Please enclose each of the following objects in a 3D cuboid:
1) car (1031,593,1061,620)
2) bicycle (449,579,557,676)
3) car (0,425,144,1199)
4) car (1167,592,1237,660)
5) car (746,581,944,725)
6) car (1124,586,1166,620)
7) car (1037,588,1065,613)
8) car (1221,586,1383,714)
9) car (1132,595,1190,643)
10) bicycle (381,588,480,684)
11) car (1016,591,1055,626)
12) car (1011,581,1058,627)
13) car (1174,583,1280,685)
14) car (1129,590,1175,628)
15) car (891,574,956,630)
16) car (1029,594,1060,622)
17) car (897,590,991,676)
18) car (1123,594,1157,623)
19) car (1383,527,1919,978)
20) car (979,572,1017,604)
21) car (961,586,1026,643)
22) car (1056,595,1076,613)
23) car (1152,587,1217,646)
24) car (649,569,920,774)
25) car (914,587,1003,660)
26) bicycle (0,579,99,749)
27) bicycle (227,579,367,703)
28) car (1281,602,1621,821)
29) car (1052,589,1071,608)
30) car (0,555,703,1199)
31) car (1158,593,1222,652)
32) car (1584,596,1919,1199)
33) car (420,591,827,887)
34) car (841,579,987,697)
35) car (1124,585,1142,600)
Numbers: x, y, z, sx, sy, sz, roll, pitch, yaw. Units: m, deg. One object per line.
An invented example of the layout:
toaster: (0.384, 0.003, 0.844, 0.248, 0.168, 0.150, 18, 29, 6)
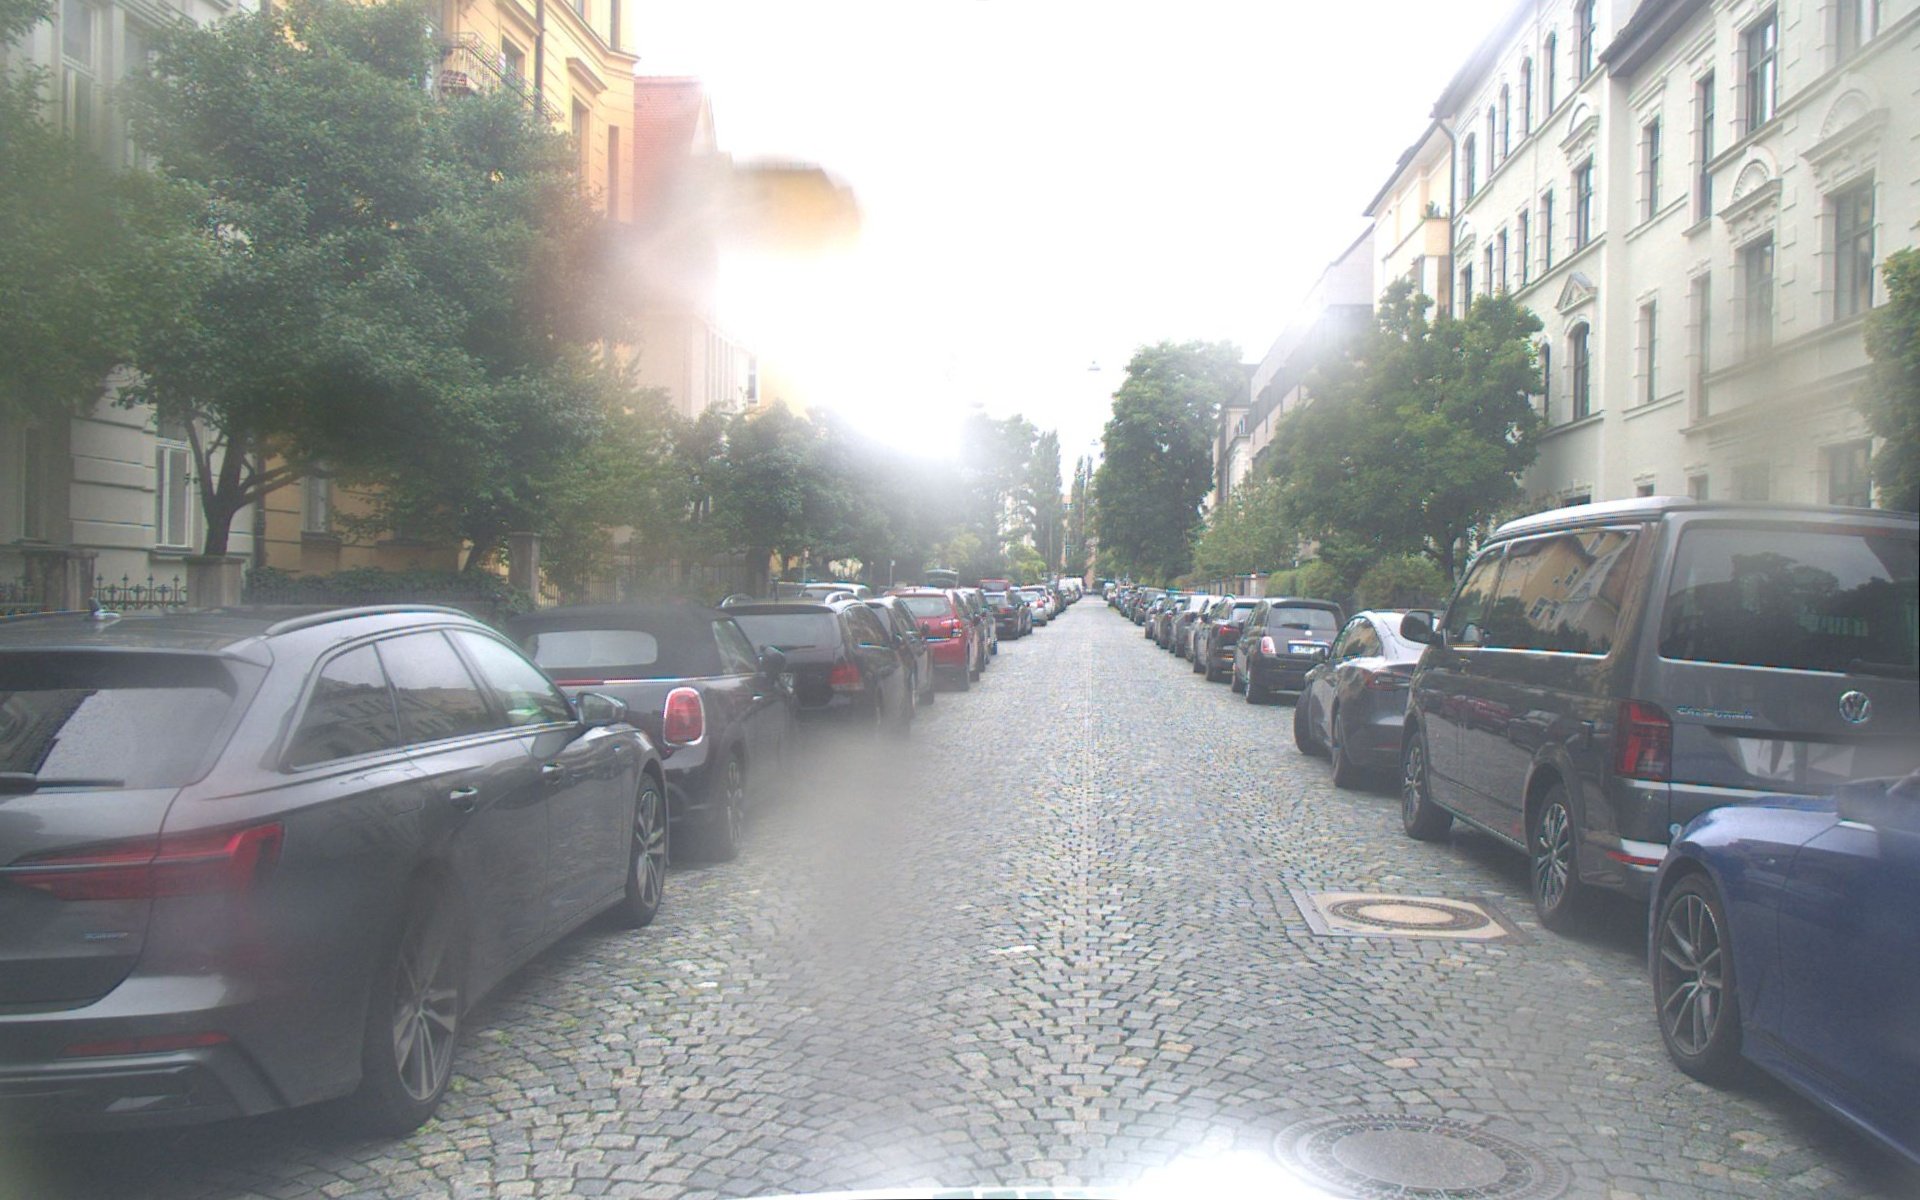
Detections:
car: (5.722, 0.417, 109.611, 1.881, 1.664, 3.741, -2, -1, 4)
bicycle: (-5.778, 0.339, 21.016, 0.409, 1.163, 1.766, 2, 0, 16)
car: (-2.712, 0.568, 0.710, 1.897, 1.681, 5.056, -2, 0, 4)
car: (5.874, 0.605, 40.123, 1.563, 1.529, 3.264, -2, -1, 8)
car: (-1.332, 0.614, 20.788, 1.881, 1.573, 4.002, -2, 0, 4)
car: (9.520, 0.159, 85.294, 1.881, 1.664, 3.741, -2, -1, 4)
car: (6.382, 0.032, 115.715, 1.881, 1.664, 3.741, -2, -1, 4)
car: (5.047, 0.694, 24.904, 1.881, 1.663, 4.049, 3, 0, 6)
car: (6.685, 0.617, 55.232, 1.626, 1.491, 3.449, -2, -1, 3)
bicycle: (-6.122, 0.402, 19.198, 0.409, 1.045, 1.766, 2, 0, 5)
car: (3.896, 0.439, 84.667, 1.881, 1.664, 3.741, -2, -1, 4)
car: (3.257, 0.193, 71.699, 1.881, 1.871, 3.741, -2, -1, 4)
car: (4.629, 0.564, 29.032, 1.625, 1.664, 3.541, 1, 0, 6)
car: (8.970, 0.443, 77.361, 1.881, 1.664, 3.741, -2, -1, 4)
car: (-1.104, 0.062, 51.675, 1.741, 1.664, 3.740, 1, 0, 3)
car: (5.352, 0.501, 104.463, 1.881, 1.664, 3.741, -2, -1, 4)
car: (-0.254, 0.589, 30.733, 1.401, 1.485, 2.652, -2, -1, 6)
car: (11.046, 0.518, 101.830, 1.881, 1.664, 3.741, -2, -1, 4)
car: (3.728, 0.581, 8.849, 1.979, 1.720, 4.853, 2, 1, 4)
car: (2.115, -0.644, 90.535, 1.881, 1.664, 3.741, -2, -1, 4)
car: (1.049, 0.433, 51.004, 1.882, 1.664, 3.740, 1, 0, 2)
car: (10.329, 0.417, 161.061, 1.881, 1.664, 3.741, -2, -1, 4)
car: (6.779, 0.502, 50.167, 1.626, 1.664, 3.449, -2, -1, 3)
car: (-1.454, 0.585, 15.307, 1.690, 1.567, 4.338, -2, 0, 4)
car: (0.012, 0.512, 37.230, 1.625, 1.561, 3.487, 1, 0, 6)
bicycle: (-6.706, 0.434, 11.438, 0.355, 1.152, 1.888, 2, 0, 4)
bicycle: (-6.430, 0.372, 16.128, 0.363, 1.121, 1.835, 2, 0, 8)
car: (4.035, 0.811, 14.451, 1.881, 1.459, 4.804, 4, 0, 5)
car: (11.891, -0.152, 193.886, 1.952, 2.049, 4.000, 1, -1, 2)
car: (-2.309, 0.669, 5.986, 1.767, 1.531, 5.179, -1, 0, 2)
car: (6.254, 0.598, 45.170, 1.625, 1.481, 3.451, -2, 0, 7)
car: (3.157, 0.806, 3.696, 1.889, 1.533, 4.877, 3, 0, 4)
car: (-1.939, 0.730, 10.636, 1.668, 1.543, 3.728, -1, 0, 3)
car: (-0.647, 0.573, 26.247, 1.881, 1.664, 3.808, -2, -1, 4)
car: (20.252, -0.901, 193.282, 1.881, 1.664, 3.741, -2, -1, 4)
